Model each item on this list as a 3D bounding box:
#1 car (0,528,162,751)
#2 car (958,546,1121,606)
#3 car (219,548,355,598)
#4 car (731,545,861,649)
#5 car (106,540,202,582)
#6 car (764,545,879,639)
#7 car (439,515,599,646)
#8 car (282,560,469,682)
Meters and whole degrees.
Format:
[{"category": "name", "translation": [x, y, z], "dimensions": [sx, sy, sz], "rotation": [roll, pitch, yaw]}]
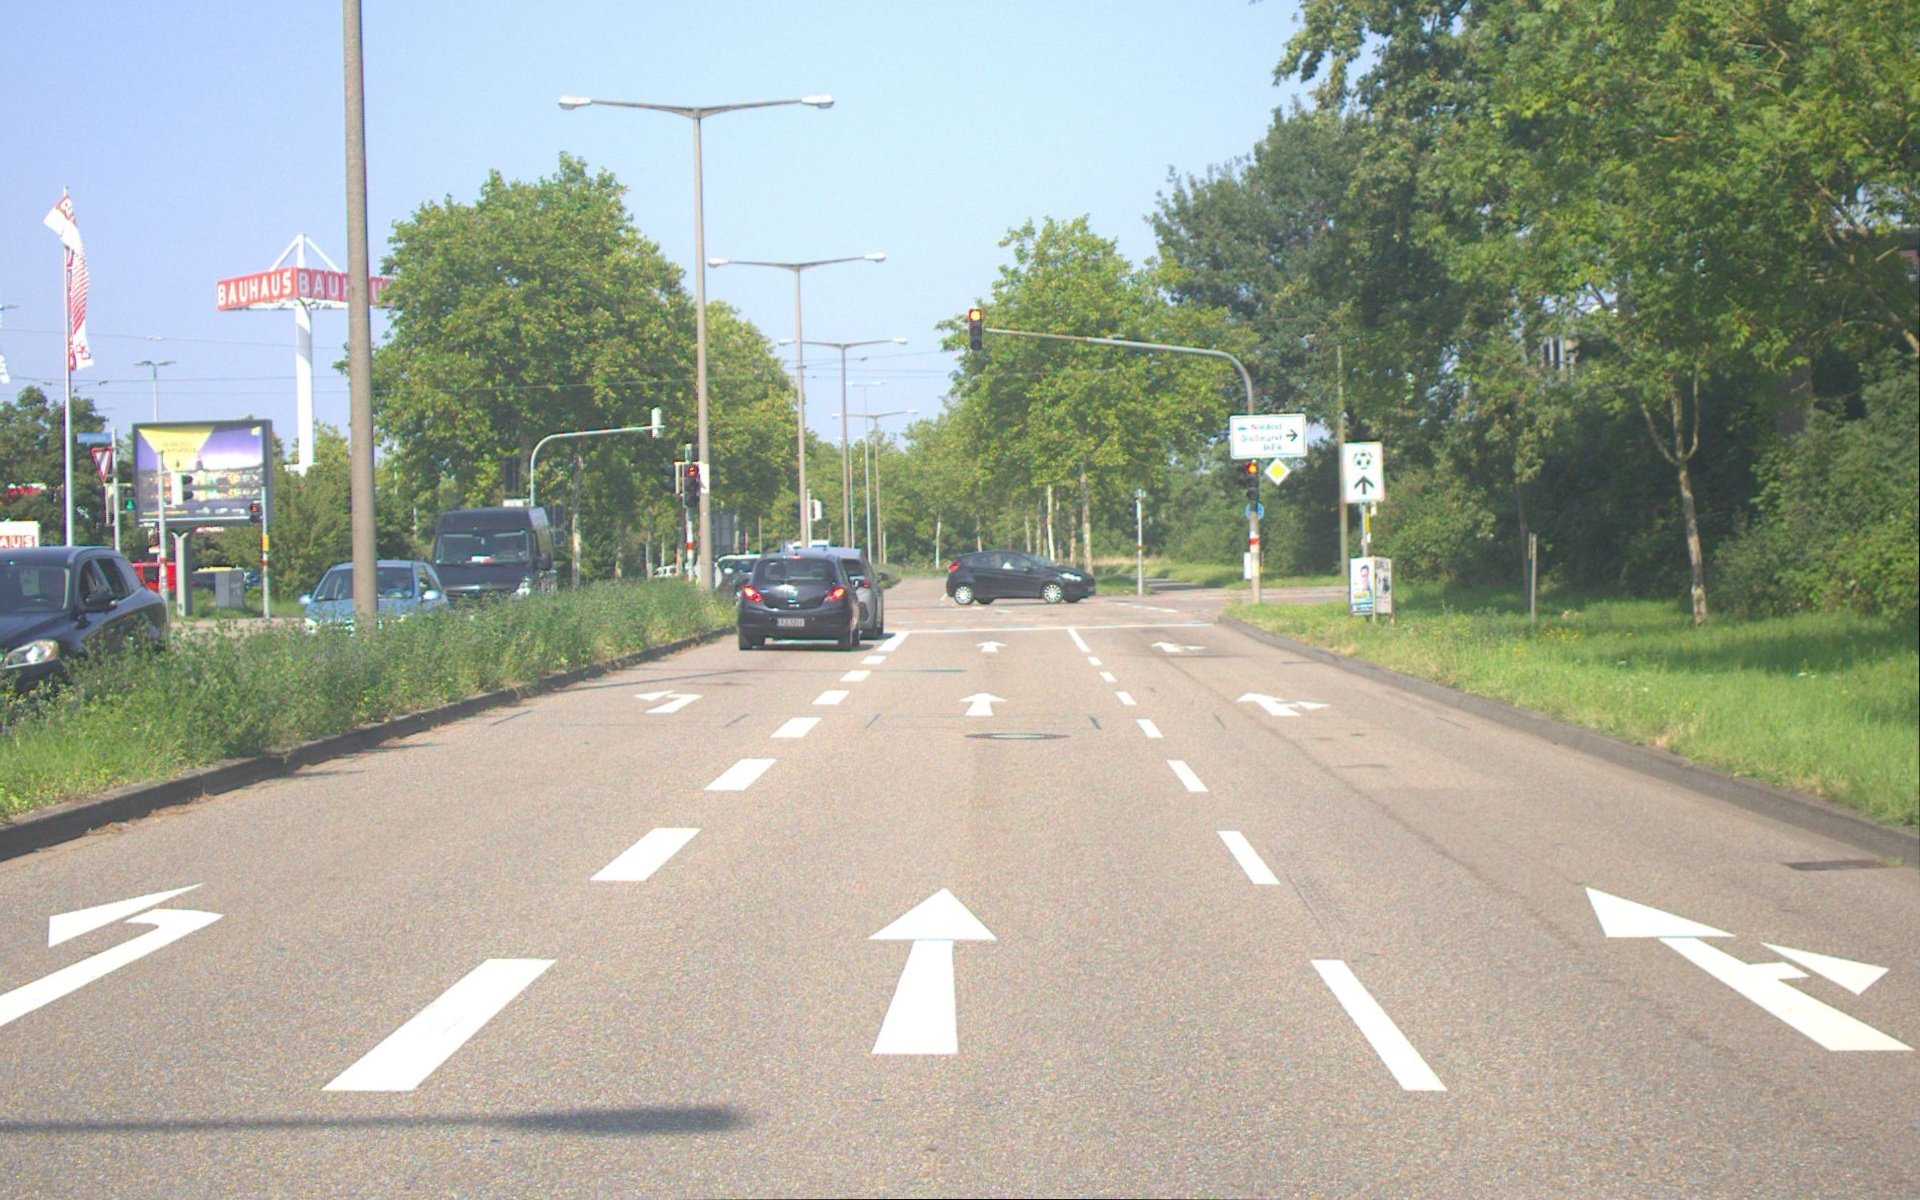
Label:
[{"category": "car", "translation": [-8.148, 0.303, 28.543], "dimensions": [1.993, 1.700, 4.505], "rotation": [-2, 1, -1]}, {"category": "car", "translation": [2.095, -0.632, 89.971], "dimensions": [3.964, 1.528, 1.822], "rotation": [0, 1, 13]}, {"category": "car", "translation": [-18.828, -0.765, 96.219], "dimensions": [3.376, 1.133, 1.493], "rotation": [-4, 1, 9]}, {"category": "car", "translation": [-2.454, -0.075, 52.299], "dimensions": [1.692, 1.481, 4.000], "rotation": [-2, 1, 1]}, {"category": "car", "translation": [-39.039, -1.901, 166.563], "dimensions": [1.998, 2.007, 4.282], "rotation": [0, 1, 36]}, {"category": "car", "translation": [-2.306, -0.163, 58.214], "dimensions": [1.692, 1.481, 4.000], "rotation": [-2, 1, 1]}, {"category": "car", "translation": [-8.182, -0.377, 64.366], "dimensions": [2.112, 2.325, 6.282], "rotation": [0, 1, 1]}, {"category": "car", "translation": [-7.855, 0.256, 46.506], "dimensions": [1.773, 1.568, 4.000], "rotation": [0, 1, 1]}]
